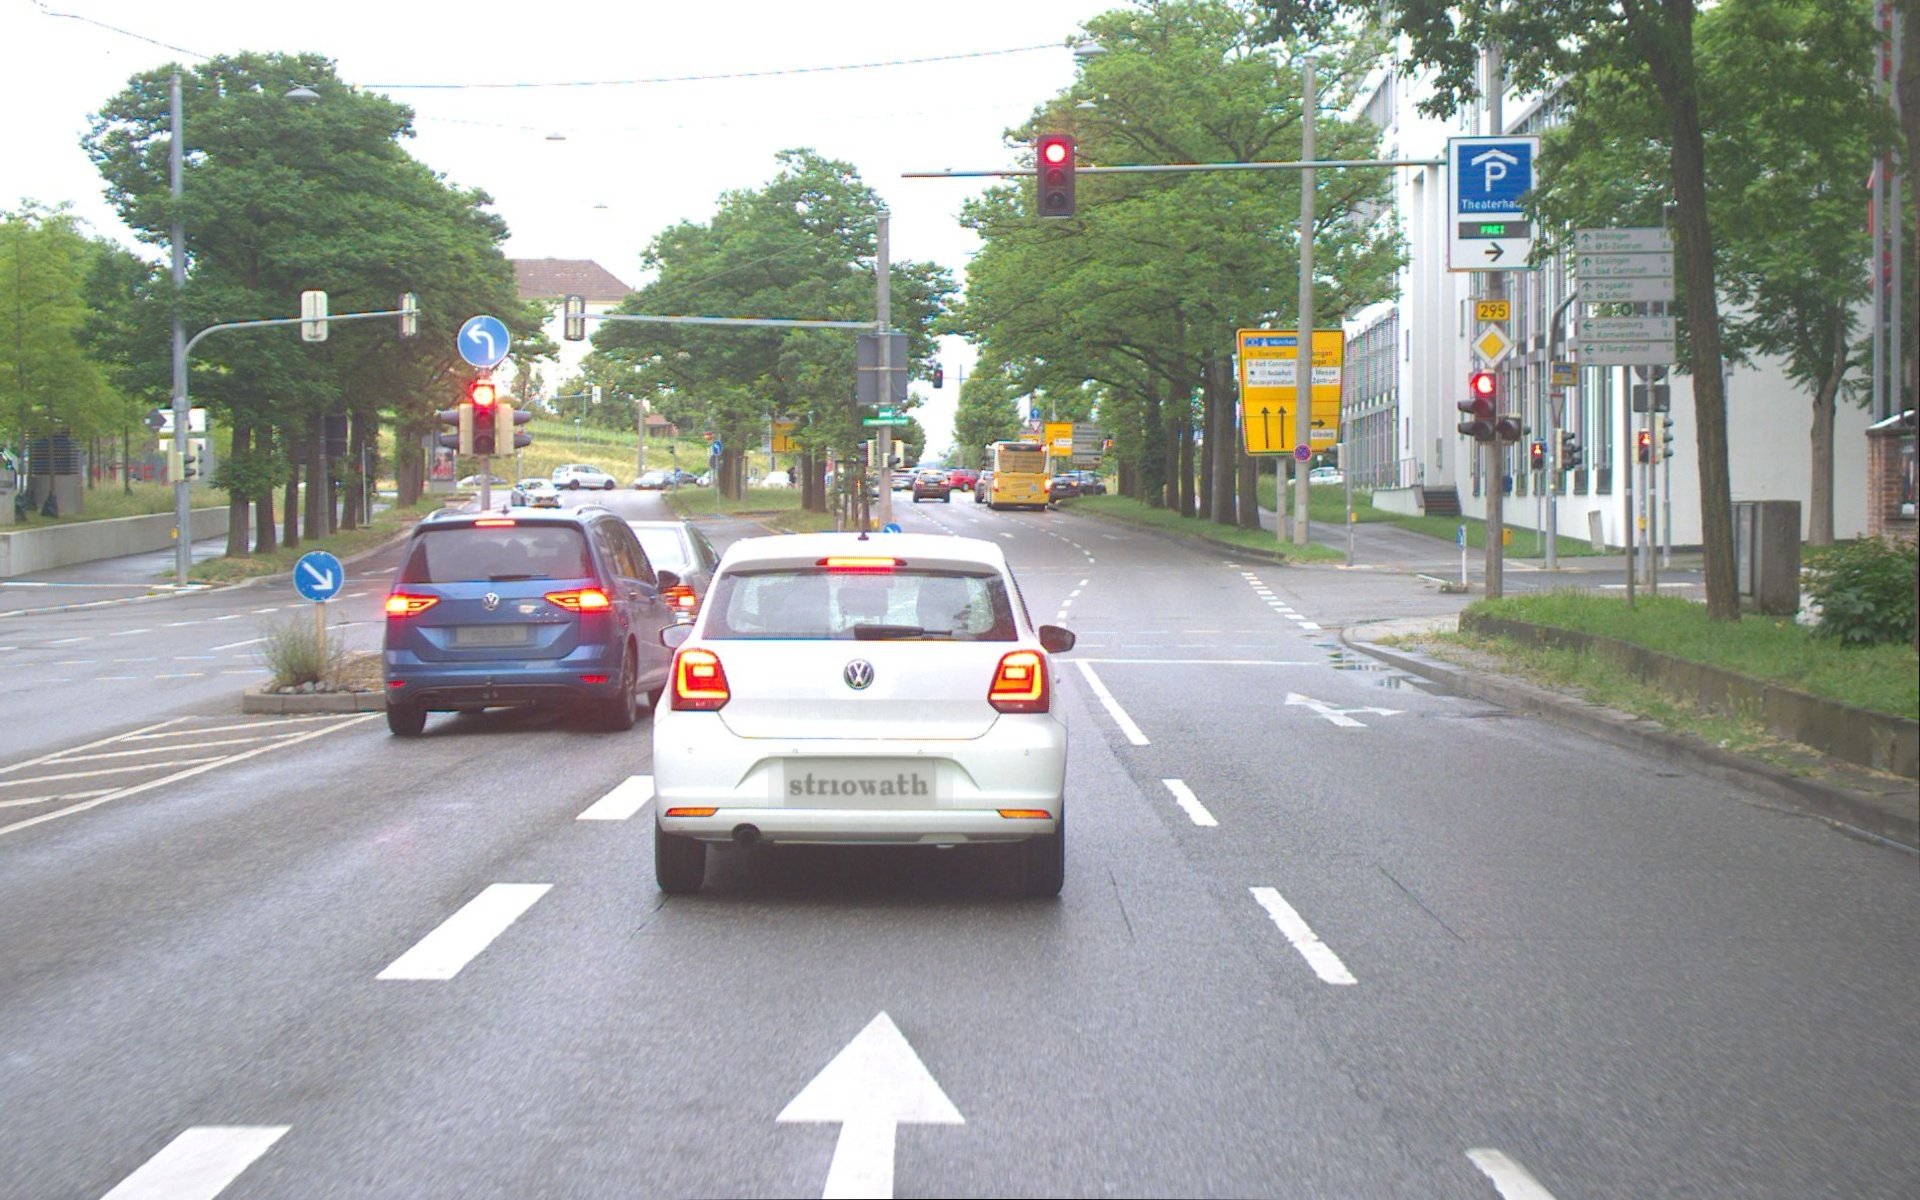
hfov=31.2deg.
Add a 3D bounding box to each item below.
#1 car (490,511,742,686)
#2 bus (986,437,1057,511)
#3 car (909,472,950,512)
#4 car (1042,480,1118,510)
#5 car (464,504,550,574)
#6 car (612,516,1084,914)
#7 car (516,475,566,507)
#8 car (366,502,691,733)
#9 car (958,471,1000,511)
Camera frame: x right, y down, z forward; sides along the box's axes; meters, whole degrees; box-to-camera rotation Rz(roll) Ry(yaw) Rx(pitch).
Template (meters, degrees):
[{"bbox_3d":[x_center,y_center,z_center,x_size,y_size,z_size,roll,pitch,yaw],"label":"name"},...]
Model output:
[{"bbox_3d":[-3.170,-0.062,32.397,1.847,1.505,4.048,-1,1,1],"label":"car"},{"bbox_3d":[2.776,-5.844,158.267,2.828,3.255,10.002,0,3,-1],"label":"bus"},{"bbox_3d":[-1.571,-5.435,173.412,1.993,2.007,4.001,-1,1,-1],"label":"car"},{"bbox_3d":[6.058,-5.288,173.217,1.699,1.510,3.818,1,2,44],"label":"car"},{"bbox_3d":[-10.700,-1.460,81.409,1.750,1.515,3.818,-2,2,-4],"label":"car"},{"bbox_3d":[-0.431,0.390,15.090,1.794,1.497,4.000,0,2,0],"label":"car"},{"bbox_3d":[-19.478,-5.094,159.757,1.814,1.406,4.657,-2,3,-12],"label":"car"},{"bbox_3d":[-3.185,0.067,26.168,1.772,1.591,4.197,-1,1,2],"label":"car"},{"bbox_3d":[0.927,-5.491,173.497,1.993,2.007,4.001,-1,1,-1],"label":"car"}]
